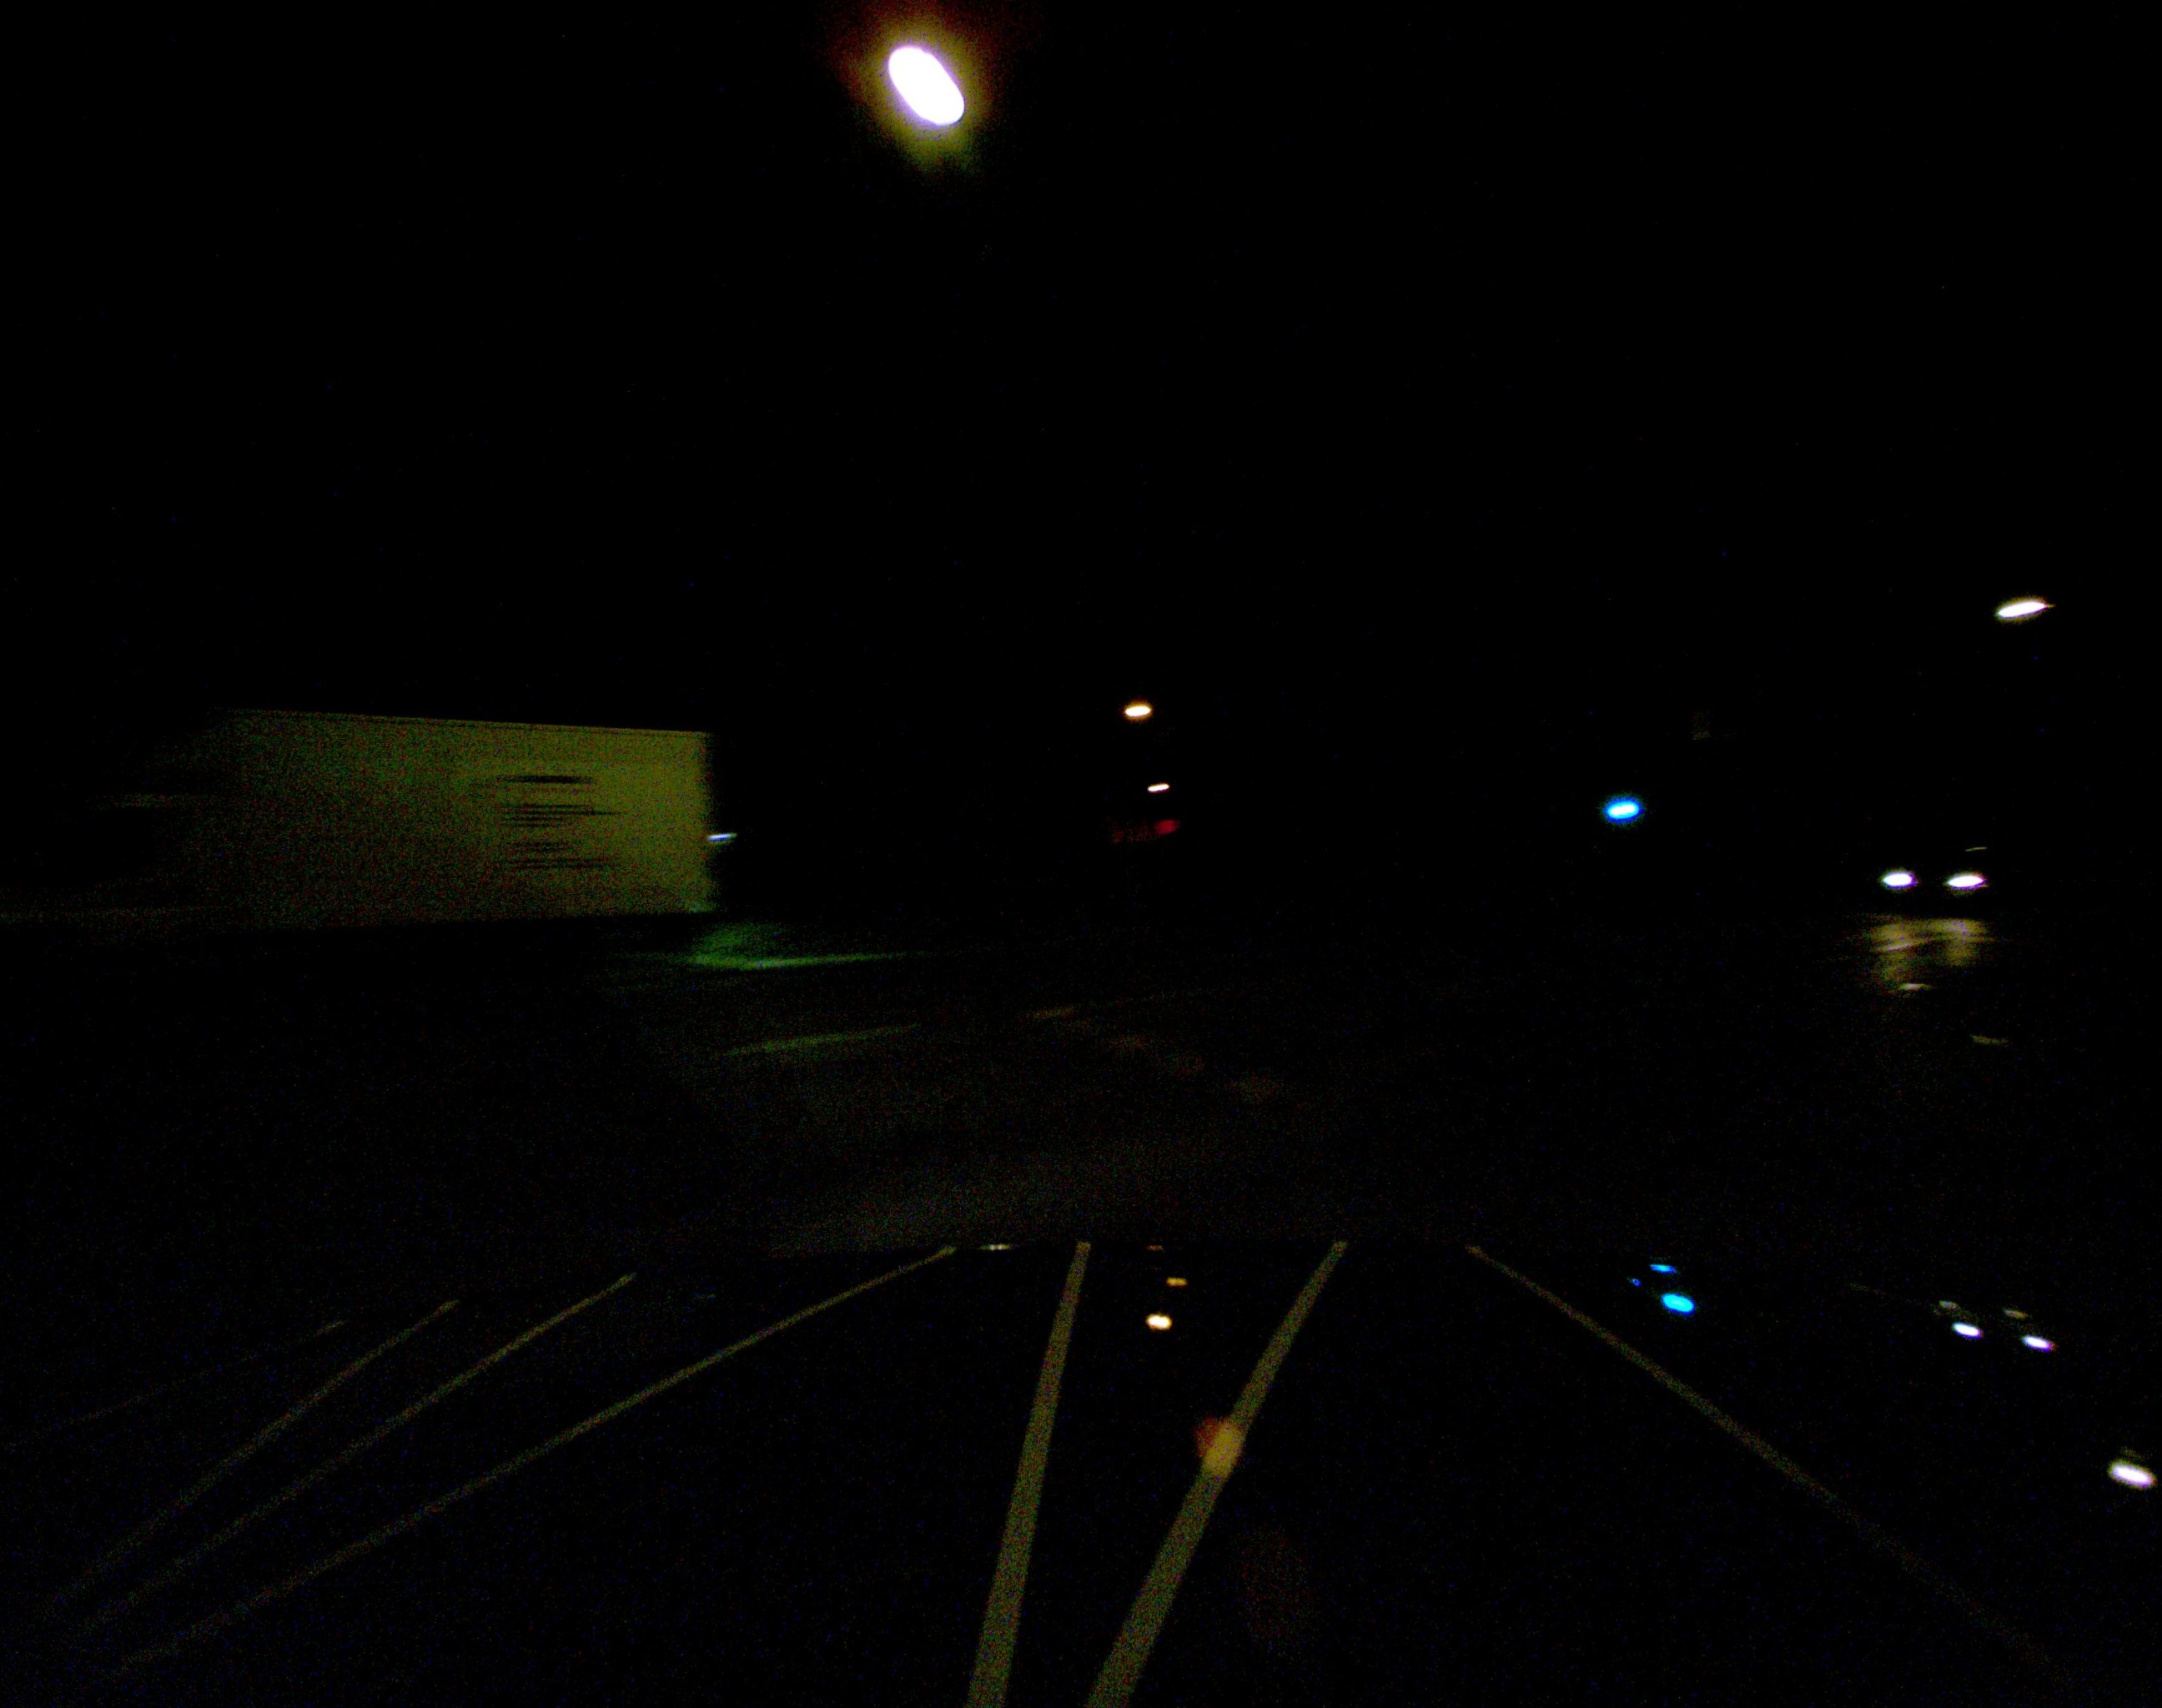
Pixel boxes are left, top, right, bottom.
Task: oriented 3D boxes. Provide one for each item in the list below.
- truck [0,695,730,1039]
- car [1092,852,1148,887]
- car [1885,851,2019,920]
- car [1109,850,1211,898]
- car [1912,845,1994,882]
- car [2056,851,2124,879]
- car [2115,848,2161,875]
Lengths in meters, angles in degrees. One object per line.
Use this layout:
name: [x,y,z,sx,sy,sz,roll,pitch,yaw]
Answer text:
truck: [-8.133,0.031,8.967,7.046,3.028,2.765,-1,3,-28]
car: [1.655,0.629,33.448,1.879,1.379,4.075,-2,1,-5]
car: [20.925,0.700,18.252,3.054,1.492,1.511,-1,0,-29]
car: [2.761,0.682,27.603,2.055,1.546,4.248,-2,0,-19]
car: [37.942,0.384,33.053,3.413,1.486,1.623,0,3,-29]
car: [54.889,0.566,41.332,3.413,1.408,1.533,0,3,-26]
car: [66.771,0.422,47.675,3.561,1.584,1.533,0,3,-26]
